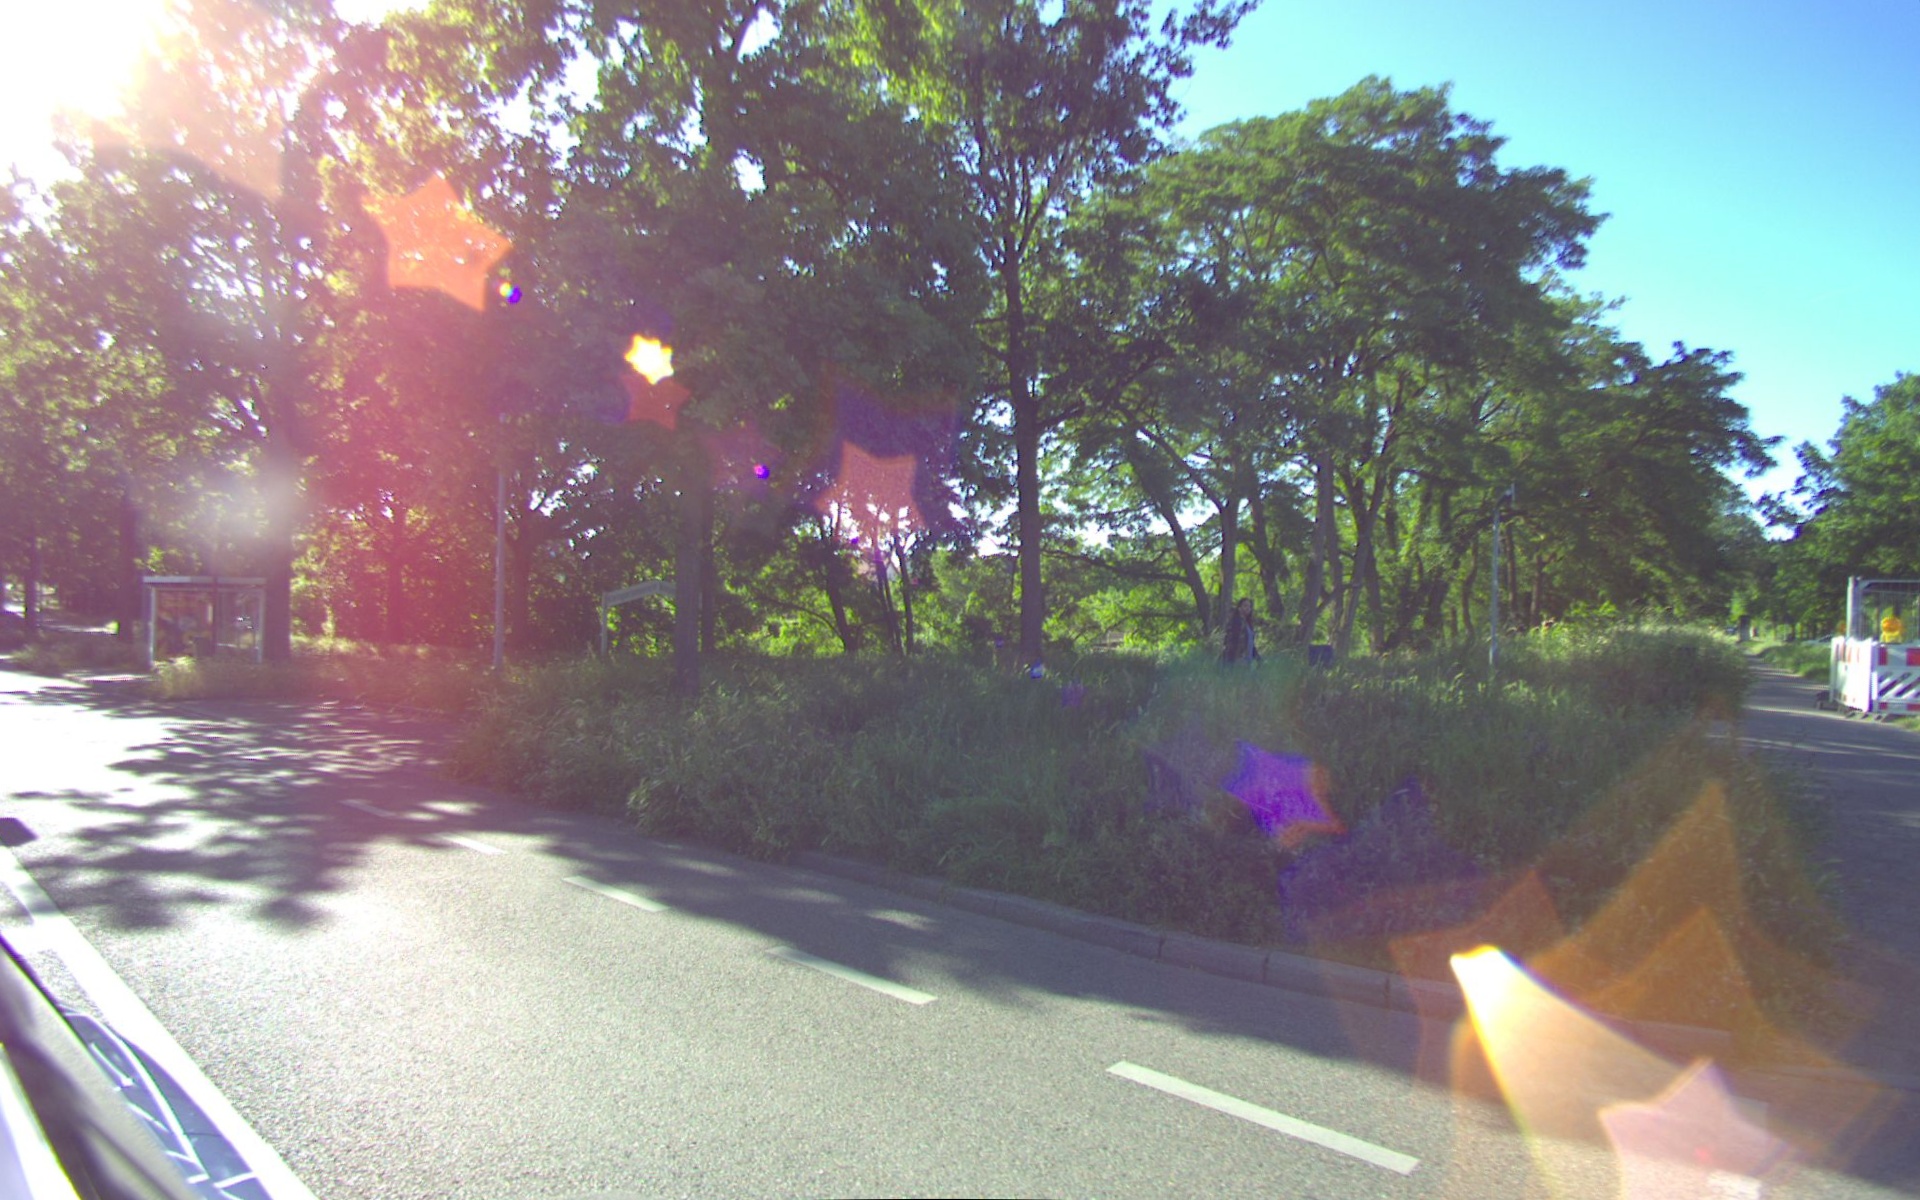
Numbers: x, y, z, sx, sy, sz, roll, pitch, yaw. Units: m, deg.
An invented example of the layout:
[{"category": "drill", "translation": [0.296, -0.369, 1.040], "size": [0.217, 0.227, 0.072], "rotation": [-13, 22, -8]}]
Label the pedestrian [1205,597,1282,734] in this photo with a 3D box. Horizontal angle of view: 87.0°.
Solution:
[{"category": "pedestrian", "translation": [3.564, 0.794, 12.711], "size": [0.647, 1.646, 0.790], "rotation": [-1, -1, 41]}]

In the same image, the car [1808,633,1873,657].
[{"category": "car", "translation": [74.573, 3.777, 85.761], "size": [3.994, 1.940, 1.975], "rotation": [-1, 0, 37]}]
